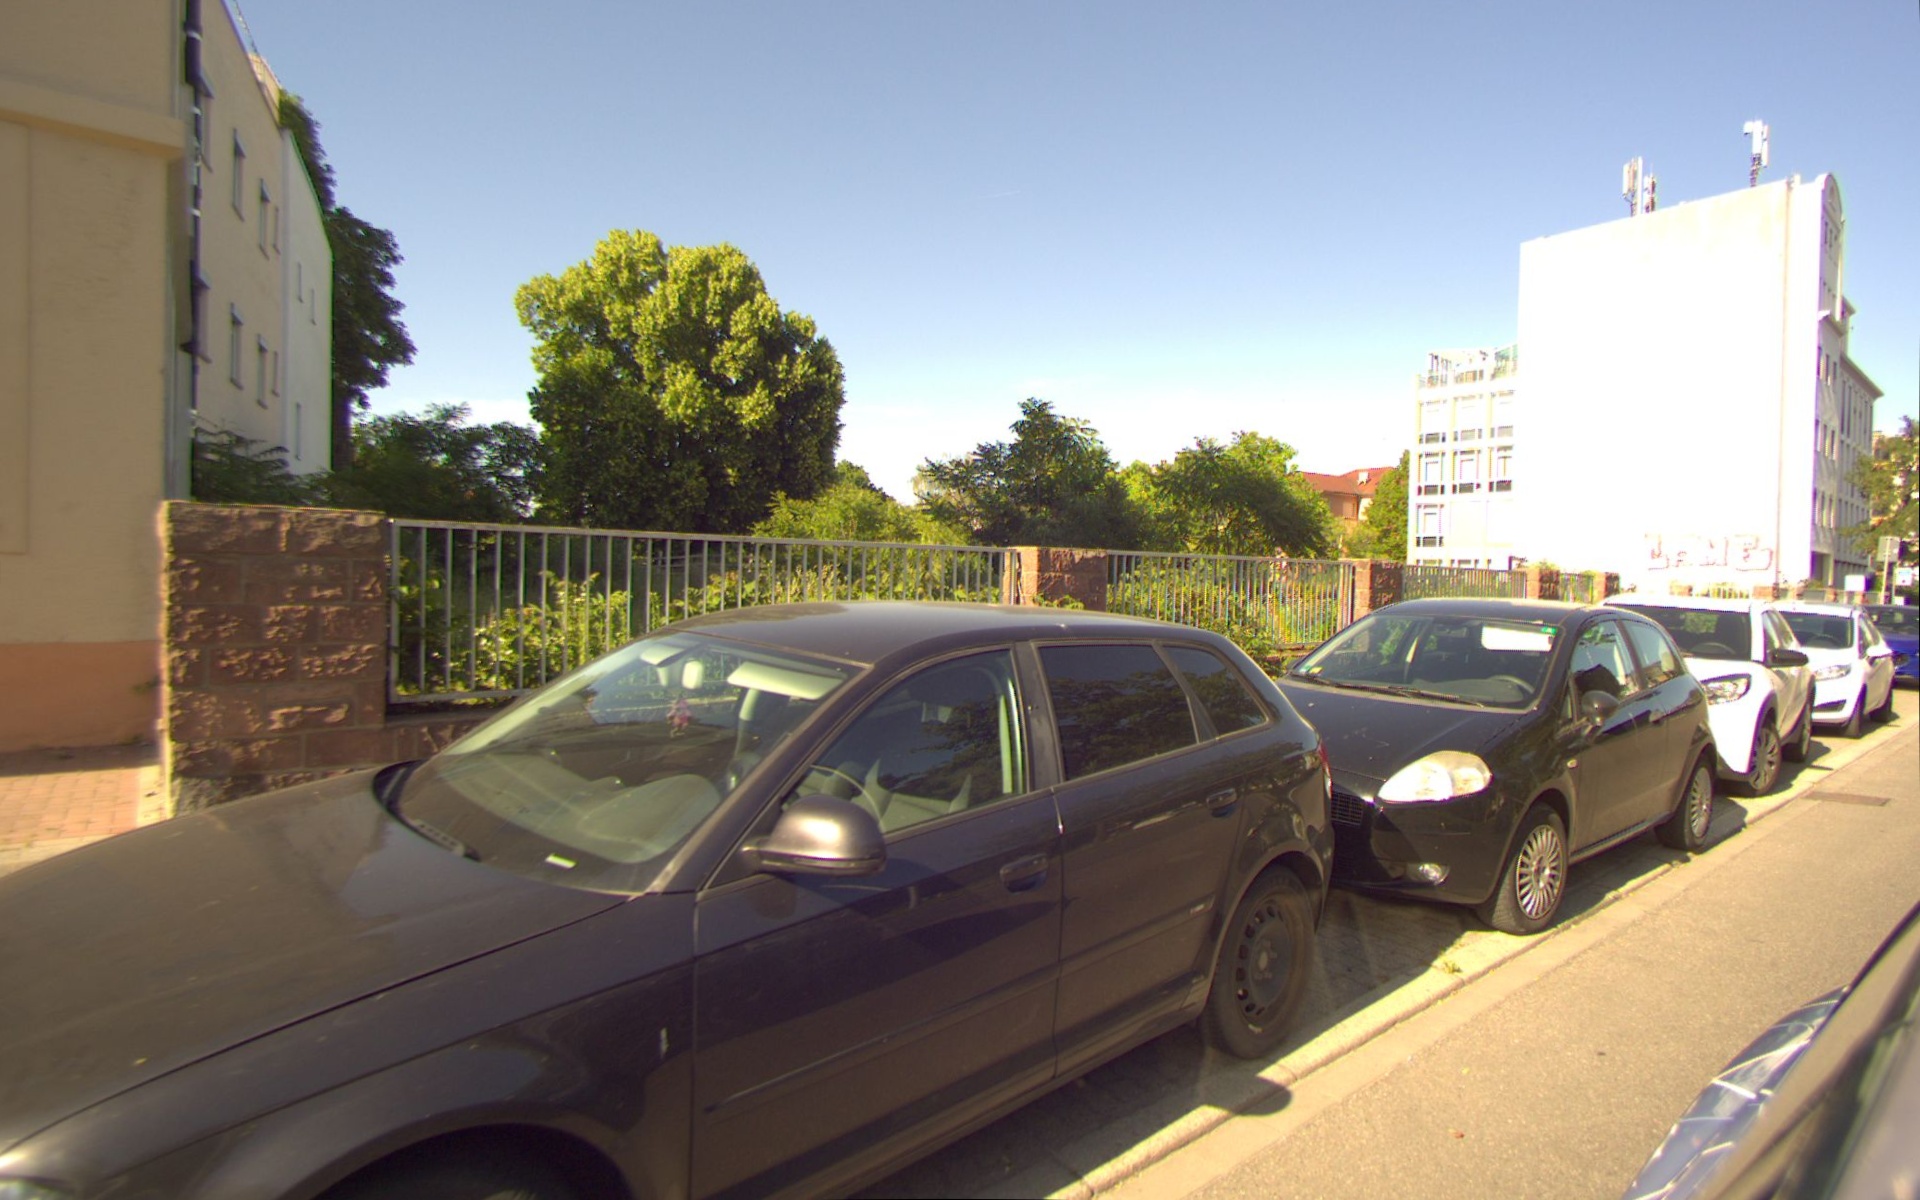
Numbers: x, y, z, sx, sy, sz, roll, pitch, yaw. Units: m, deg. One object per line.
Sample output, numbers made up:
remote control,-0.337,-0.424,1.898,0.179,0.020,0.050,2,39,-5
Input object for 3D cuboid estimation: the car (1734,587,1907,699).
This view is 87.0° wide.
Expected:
car,14.039,0.607,16.444,3.920,1.477,1.670,0,4,-44

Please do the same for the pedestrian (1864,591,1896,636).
pedestrian,33.449,0.493,36.804,0.881,1.603,0.744,0,0,-40

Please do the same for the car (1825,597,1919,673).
car,17.704,0.626,18.995,3.833,1.197,1.671,0,4,-42

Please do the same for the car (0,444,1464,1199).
car,-0.580,0.578,2.734,4.406,1.538,1.938,0,2,-41

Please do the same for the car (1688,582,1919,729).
car,10.538,0.589,12.547,3.595,1.463,1.612,0,4,-41

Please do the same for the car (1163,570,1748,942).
car,2.983,0.586,5.749,3.709,1.411,1.671,0,2,-41

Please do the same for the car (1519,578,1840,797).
car,6.576,0.616,9.112,3.600,1.538,1.670,0,2,-43
